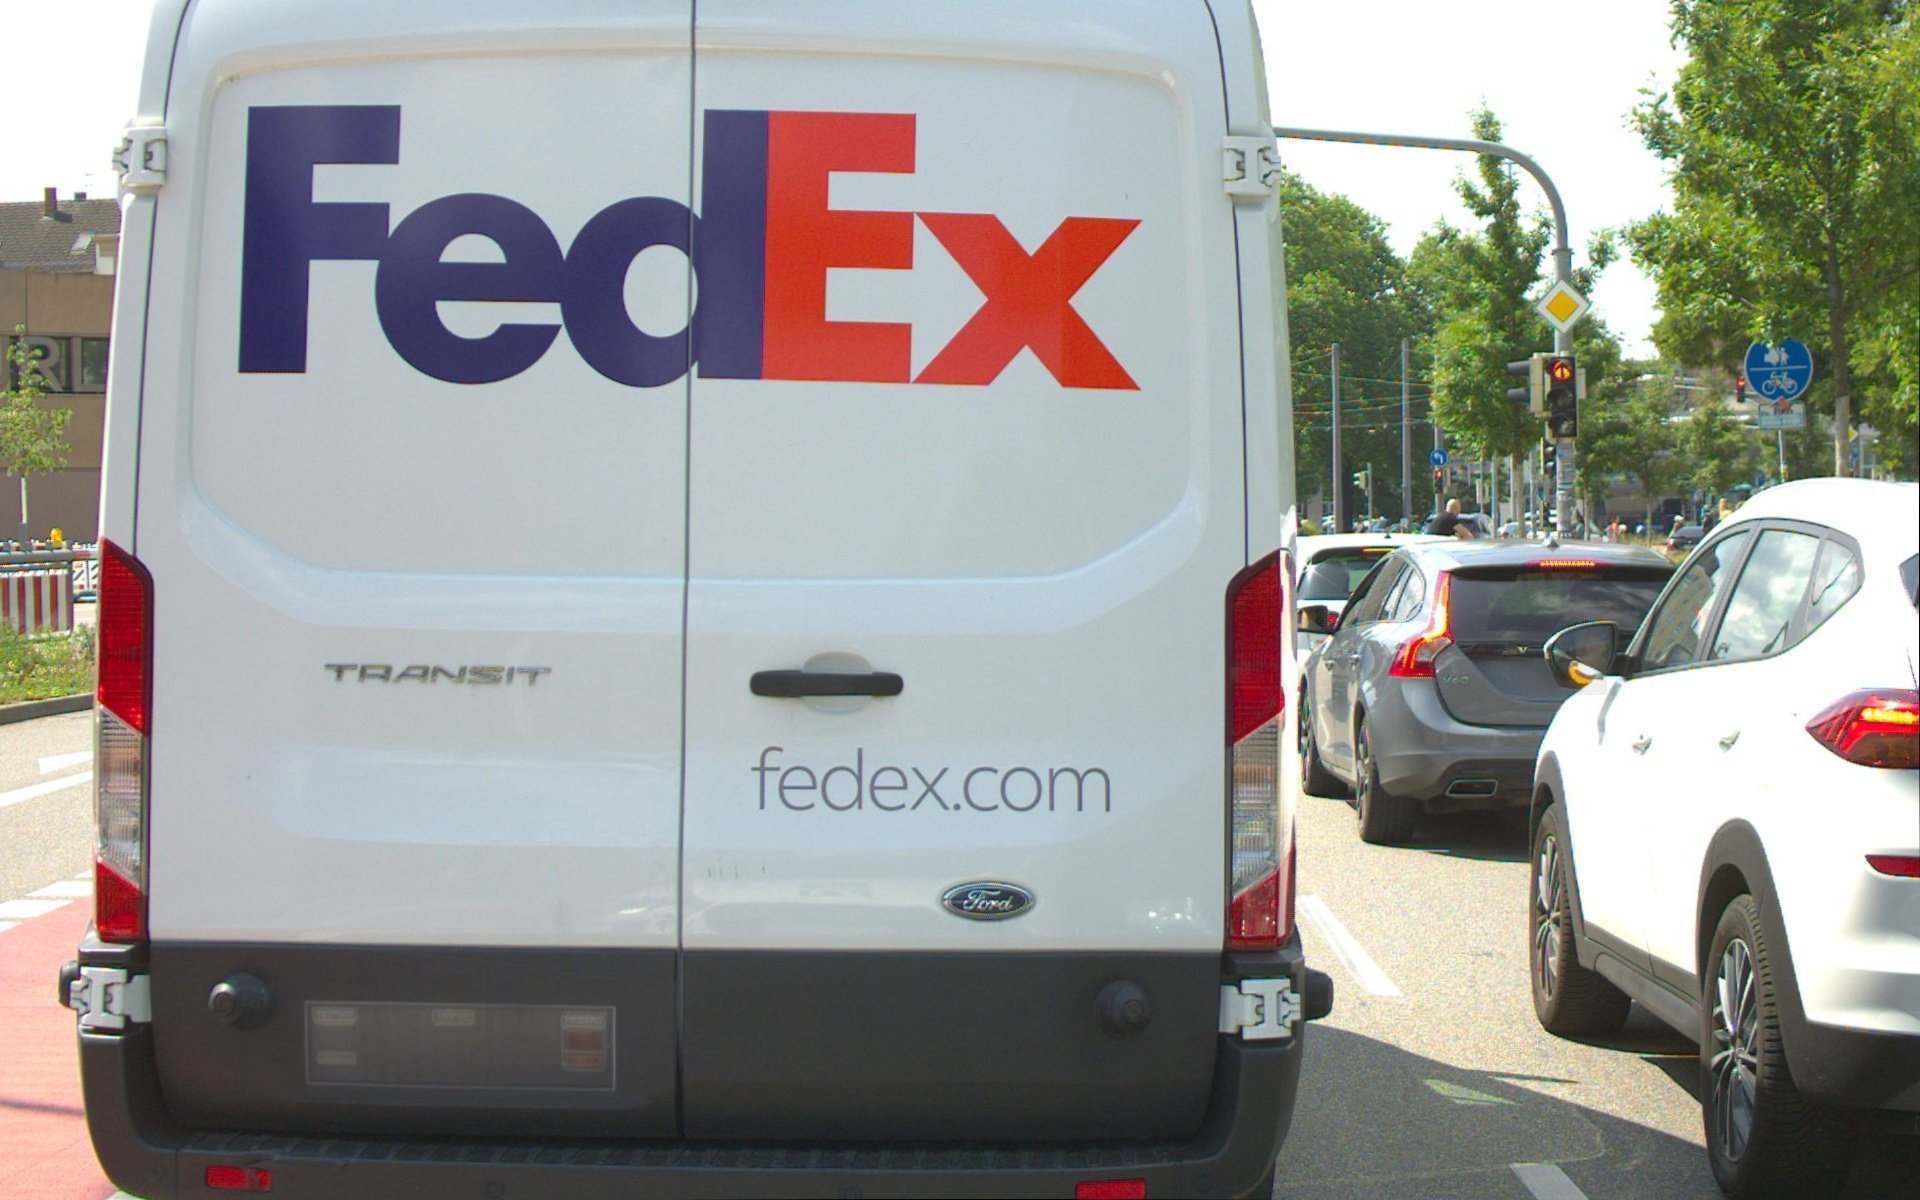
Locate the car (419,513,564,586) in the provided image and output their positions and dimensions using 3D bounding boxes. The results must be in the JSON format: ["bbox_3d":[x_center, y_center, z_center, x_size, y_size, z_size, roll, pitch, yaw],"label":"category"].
[{"bbox_3d":[-10.591,-1.148,77.956,1.902,1.579,3.998,0,1,14],"label":"car"}]

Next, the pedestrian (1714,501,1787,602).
[{"bbox_3d":[11.002,-0.683,47.874,0.845,1.384,0.741,0,1,-1],"label":"pedestrian"}]

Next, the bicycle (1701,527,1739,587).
[{"bbox_3d":[13.447,-0.766,60.875,0.546,1.027,1.926,0,2,9],"label":"bicycle"}]

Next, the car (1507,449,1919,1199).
[{"bbox_3d":[2.558,0.488,8.705,1.798,1.681,4.000,0,2,1],"label":"car"}]

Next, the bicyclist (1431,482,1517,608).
[{"bbox_3d":[7.600,-0.823,50.884,1.119,1.838,0.593,-1,2,-10],"label":"bicyclist"}]

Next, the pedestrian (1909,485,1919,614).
[{"bbox_3d":[15.387,-0.794,53.841,0.845,2.007,0.741,0,1,-1],"label":"pedestrian"}]

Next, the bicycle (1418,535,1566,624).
[{"bbox_3d":[7.882,-0.305,50.940,2.064,1.285,0.604,-1,1,-8],"label":"bicycle"}]

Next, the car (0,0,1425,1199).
[{"bbox_3d":[-0.528,0.036,7.788,2.140,2.643,5.705,0,1,-3],"label":"car"}]

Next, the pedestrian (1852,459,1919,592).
[{"bbox_3d":[14.445,-1.164,53.485,0.844,2.051,0.741,-1,1,-18],"label":"pedestrian"}]

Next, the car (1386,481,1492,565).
[{"bbox_3d":[11.936,-1.906,85.468,2.094,2.007,4.641,0,1,14],"label":"car"}]

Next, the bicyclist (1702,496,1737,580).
[{"bbox_3d":[13.439,-1.108,60.873,0.550,1.469,0.971,0,1,9],"label":"bicyclist"}]

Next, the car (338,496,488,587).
[{"bbox_3d":[-12.570,-1.344,79.226,1.995,2.007,3.998,0,1,14],"label":"car"}]

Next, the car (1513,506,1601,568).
[{"bbox_3d":[17.889,-1.876,102.905,1.995,1.787,4.368,0,1,18],"label":"car"}]

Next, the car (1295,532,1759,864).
[{"bbox_3d":[2.736,0.405,17.388,1.798,1.456,3.838,0,2,1],"label":"car"}]

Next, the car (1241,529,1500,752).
[{"bbox_3d":[2.816,0.233,24.134,1.484,1.423,3.433,0,2,1],"label":"car"}]
